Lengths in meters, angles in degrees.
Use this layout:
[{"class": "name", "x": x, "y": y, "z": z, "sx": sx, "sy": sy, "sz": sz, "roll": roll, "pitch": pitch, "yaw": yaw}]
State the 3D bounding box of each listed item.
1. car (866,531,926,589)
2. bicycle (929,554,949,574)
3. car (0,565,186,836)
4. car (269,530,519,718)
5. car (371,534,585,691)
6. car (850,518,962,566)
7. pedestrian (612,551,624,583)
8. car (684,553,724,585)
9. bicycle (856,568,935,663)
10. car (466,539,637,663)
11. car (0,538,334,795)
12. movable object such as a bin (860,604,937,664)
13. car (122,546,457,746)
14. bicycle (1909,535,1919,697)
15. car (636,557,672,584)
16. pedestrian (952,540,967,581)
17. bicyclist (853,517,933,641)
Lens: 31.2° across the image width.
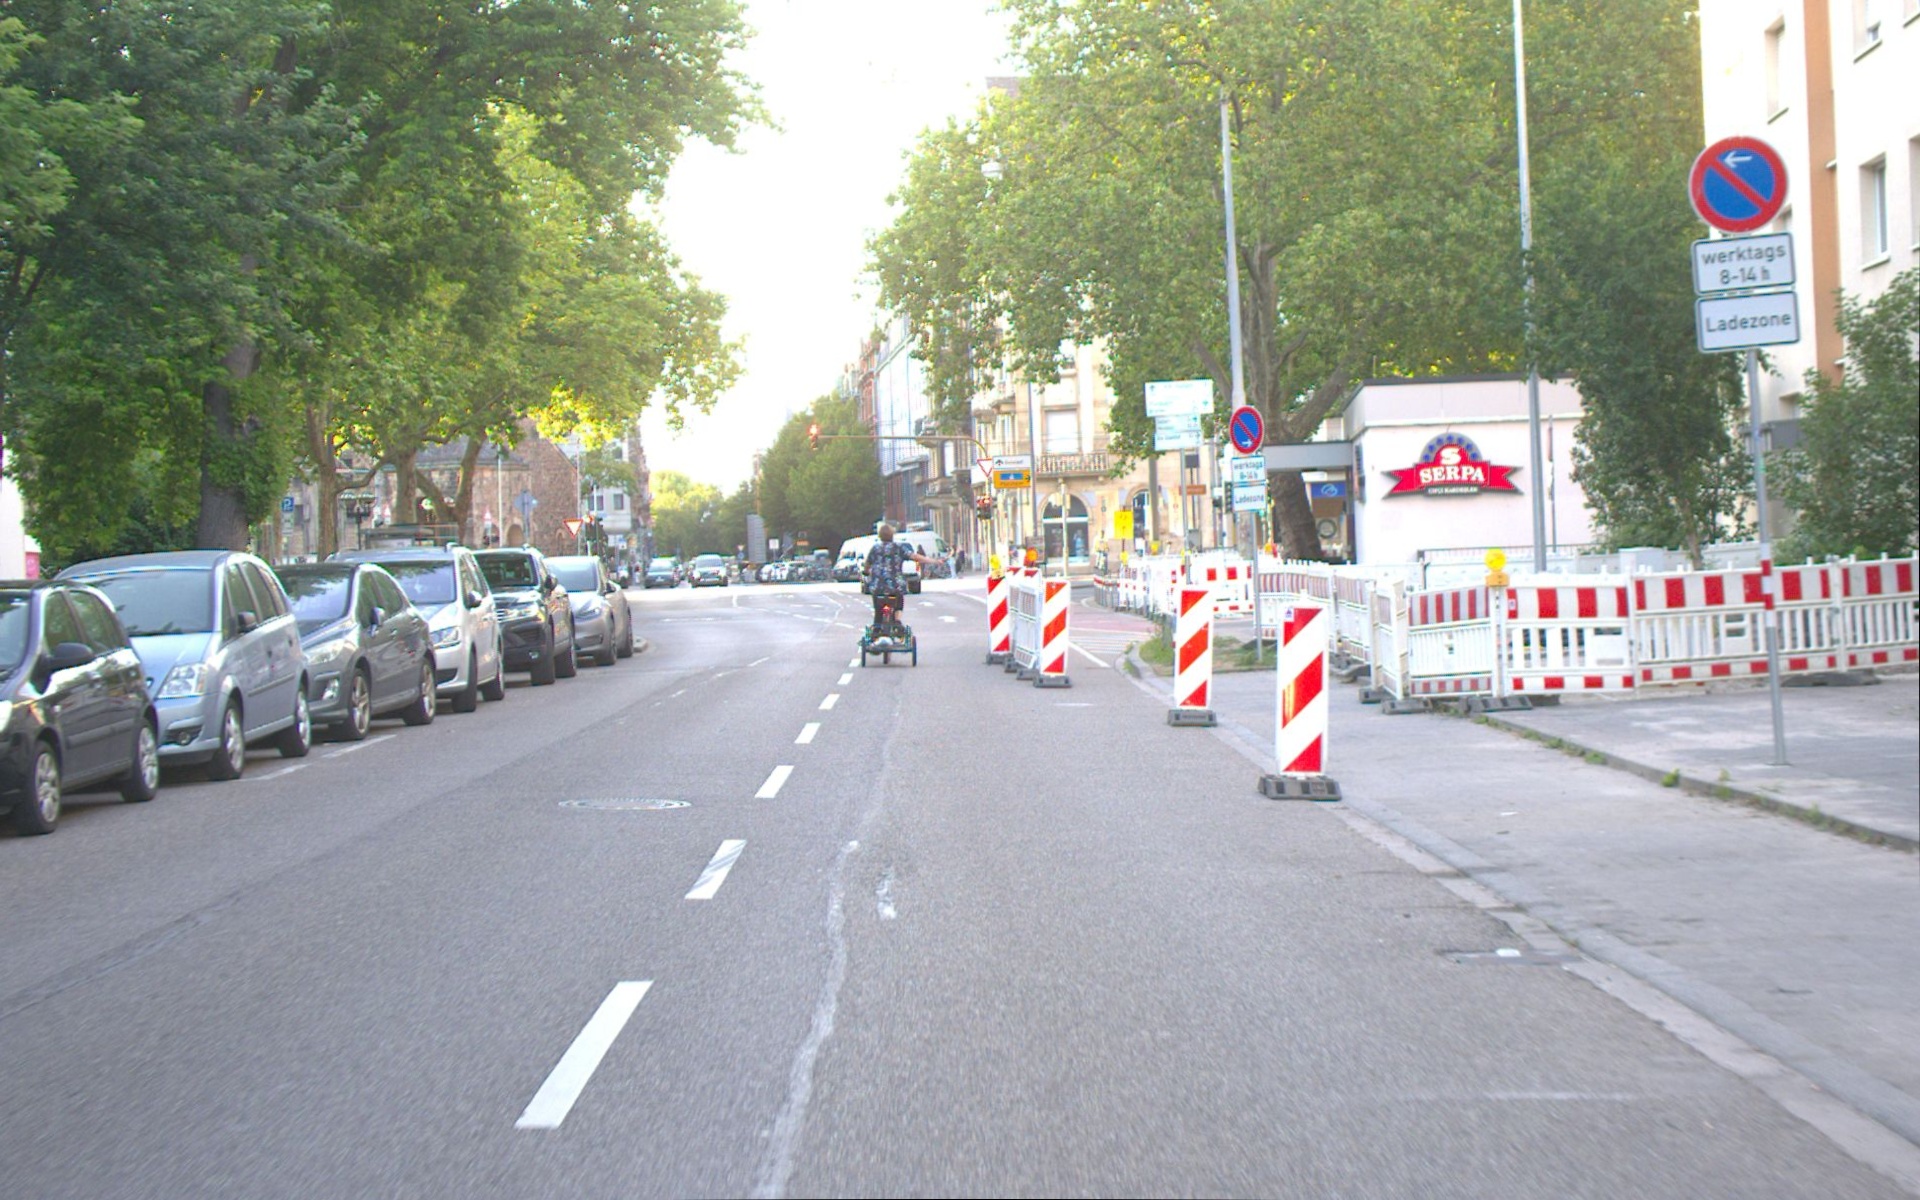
[{"class": "car", "x": -2.160, "y": -1.334, "z": 114.466, "sx": 1.866, "sy": 1.808, "sz": 4.000, "roll": -3, "pitch": 1, "yaw": -2}, {"class": "bicycle", "x": -1.070, "y": -1.785, "z": 172.601, "sx": 0.544, "sy": 0.965, "sz": 1.920, "roll": -2, "pitch": 1, "yaw": 13}, {"class": "car", "x": -5.981, "y": 0.594, "z": 20.619, "sx": 1.707, "sy": 1.447, "sz": 3.843, "roll": -5, "pitch": 1, "yaw": 0}, {"class": "car", "x": -5.721, "y": 0.195, "z": 35.300, "sx": 1.846, "sy": 1.685, "sz": 4.860, "roll": -4, "pitch": 1, "yaw": -2}, {"class": "car", "x": -5.892, "y": 0.115, "z": 42.554, "sx": 1.953, "sy": 1.713, "sz": 4.771, "roll": -4, "pitch": 1, "yaw": -1}, {"class": "car", "x": -2.740, "y": -2.979, "z": 176.673, "sx": 5.807, "sy": 2.280, "sz": 2.071, "roll": -3, "pitch": 1, "yaw": -43}, {"class": "pedestrian", "x": -19.974, "y": -1.940, "z": 200.913, "sx": 0.593, "sy": 1.880, "sz": 0.553, "roll": -2, "pitch": 1, "yaw": -4}, {"class": "car", "x": -13.499, "y": -1.647, "z": 181.153, "sx": 1.781, "sy": 1.645, "sz": 3.822, "roll": 0, "pitch": 1, "yaw": -8}, {"class": "bicycle", "x": -0.871, "y": 0.197, "z": 46.037, "sx": 0.939, "sy": 1.168, "sz": 2.359, "roll": -4, "pitch": 0, "yaw": -2}, {"class": "car", "x": -5.953, "y": -0.018, "z": 50.586, "sx": 1.953, "sy": 1.611, "sz": 4.605, "roll": -4, "pitch": 1, "yaw": -1}, {"class": "car", "x": -5.838, "y": 0.425, "z": 25.035, "sx": 1.707, "sy": 1.595, "sz": 4.117, "roll": -5, "pitch": 1, "yaw": 0}, {"class": "movable object such as a bin", "x": -0.800, "y": 0.440, "z": 44.364, "sx": 0.939, "sy": 0.686, "sz": 0.993, "roll": -4, "pitch": 0, "yaw": -2}, {"class": "car", "x": -5.720, "y": 0.339, "z": 29.840, "sx": 1.733, "sy": 1.492, "sz": 4.270, "roll": -4, "pitch": 1, "yaw": 4}, {"class": "bicycle", "x": 7.451, "y": 0.124, "z": 25.029, "sx": 0.451, "sy": 1.217, "sz": 1.911, "roll": -1, "pitch": 1, "yaw": -2}, {"class": "car", "x": -18.750, "y": -1.807, "z": 210.710, "sx": 1.993, "sy": 1.645, "sz": 3.822, "roll": 0, "pitch": 1, "yaw": -8}, {"class": "pedestrian", "x": -0.035, "y": -1.820, "z": 157.468, "sx": 0.593, "sy": 1.880, "sz": 0.585, "roll": -2, "pitch": 1, "yaw": 3}, {"class": "bicyclist", "x": -0.910, "y": -0.284, "z": 46.053, "sx": 0.939, "sy": 1.576, "sz": 1.146, "roll": -4, "pitch": 0, "yaw": -2}]
